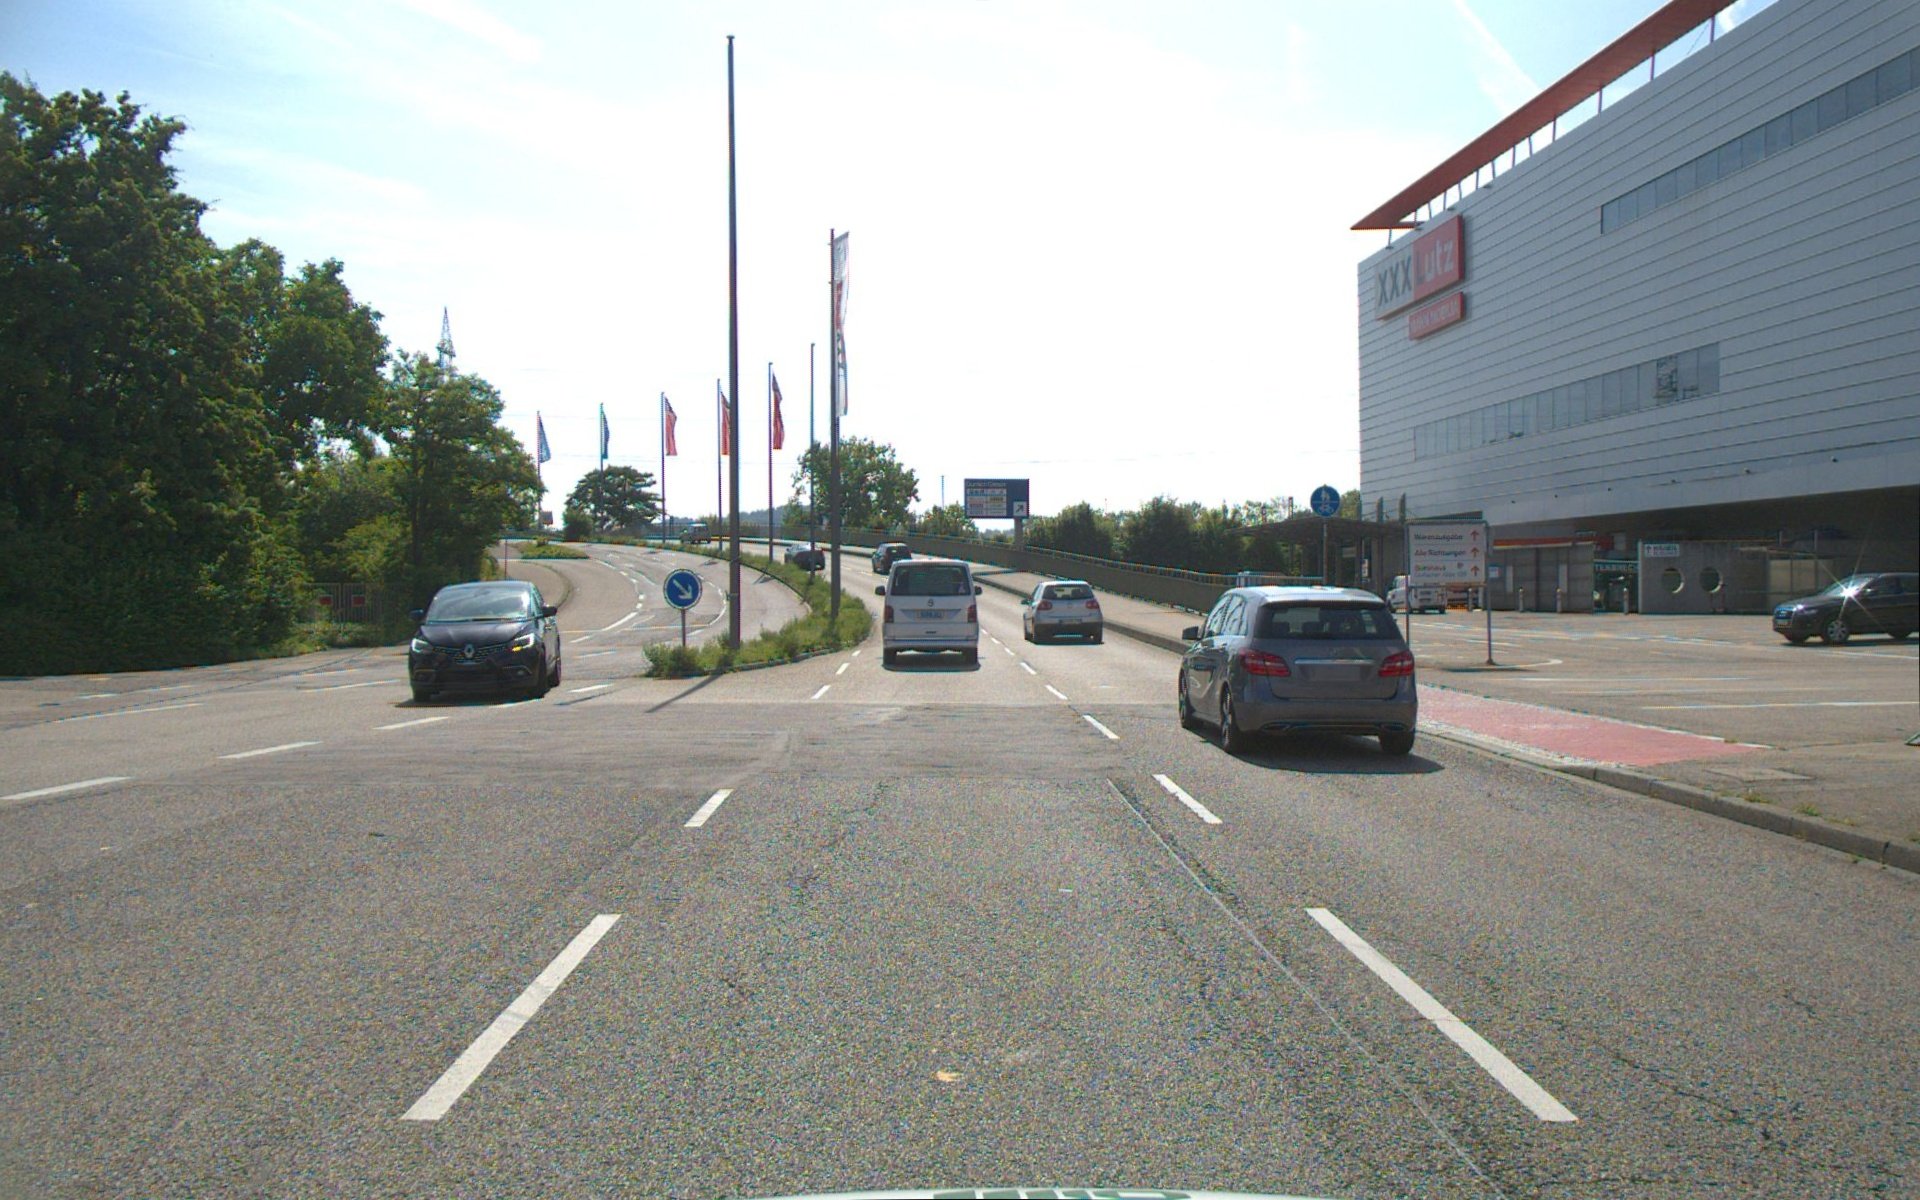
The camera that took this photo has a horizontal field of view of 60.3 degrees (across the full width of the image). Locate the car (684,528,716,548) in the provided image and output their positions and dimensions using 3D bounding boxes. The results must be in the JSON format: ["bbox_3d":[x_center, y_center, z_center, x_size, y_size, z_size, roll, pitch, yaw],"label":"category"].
[{"bbox_3d":[-21.152,-4.999,134.521,1.514,1.506,3.393,1,0,-28],"label":"car"}]

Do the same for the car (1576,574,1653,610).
[{"bbox_3d":[28.567,-0.381,72.262,1.639,1.536,4.092,0,1,-2],"label":"car"}]

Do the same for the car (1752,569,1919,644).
[{"bbox_3d":[22.577,0.143,41.722,4.338,1.642,1.835,-3,1,-7],"label":"car"}]

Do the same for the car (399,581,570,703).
[{"bbox_3d":[-6.954,0.549,24.599,1.880,1.634,4.263,-1,0,-9],"label":"car"}]

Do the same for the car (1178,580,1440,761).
[{"bbox_3d":[3.358,0.597,16.680,1.737,1.566,4.137,0,1,-1],"label":"car"}]

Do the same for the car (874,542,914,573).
[{"bbox_3d":[-3.603,-2.303,89.668,1.505,1.505,3.585,1,3,-14],"label":"car"}]

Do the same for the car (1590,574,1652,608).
[{"bbox_3d":[30.512,-0.434,76.400,1.480,1.494,3.253,0,1,-2],"label":"car"}]

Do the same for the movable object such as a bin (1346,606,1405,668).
[{"bbox_3d":[7.836,0.679,31.233,0.793,1.133,1.182,0,0,-1],"label":"movable object such as a bin"}]

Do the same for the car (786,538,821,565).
[{"bbox_3d":[-9.123,-2.799,96.284,1.506,1.505,3.233,1,0,-16],"label":"car"}]

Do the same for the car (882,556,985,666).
[{"bbox_3d":[-0.482,0.186,32.716,1.877,2.010,4.297,1,0,0],"label":"car"}]

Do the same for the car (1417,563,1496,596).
[{"bbox_3d":[29.244,-1.209,97.503,4.104,1.962,1.775,0,1,-3],"label":"car"}]

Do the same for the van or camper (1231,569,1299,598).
[{"bbox_3d":[25.401,-1.384,137.573,5.350,2.217,2.089,2,-1,-25],"label":"van or camper"}]

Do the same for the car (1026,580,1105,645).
[{"bbox_3d":[2.593,0.278,41.430,1.633,1.439,3.682,-2,1,-1],"label":"car"}]

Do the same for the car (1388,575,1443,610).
[{"bbox_3d":[23.899,-0.400,86.936,1.639,1.782,4.092,0,1,-2],"label":"car"}]
